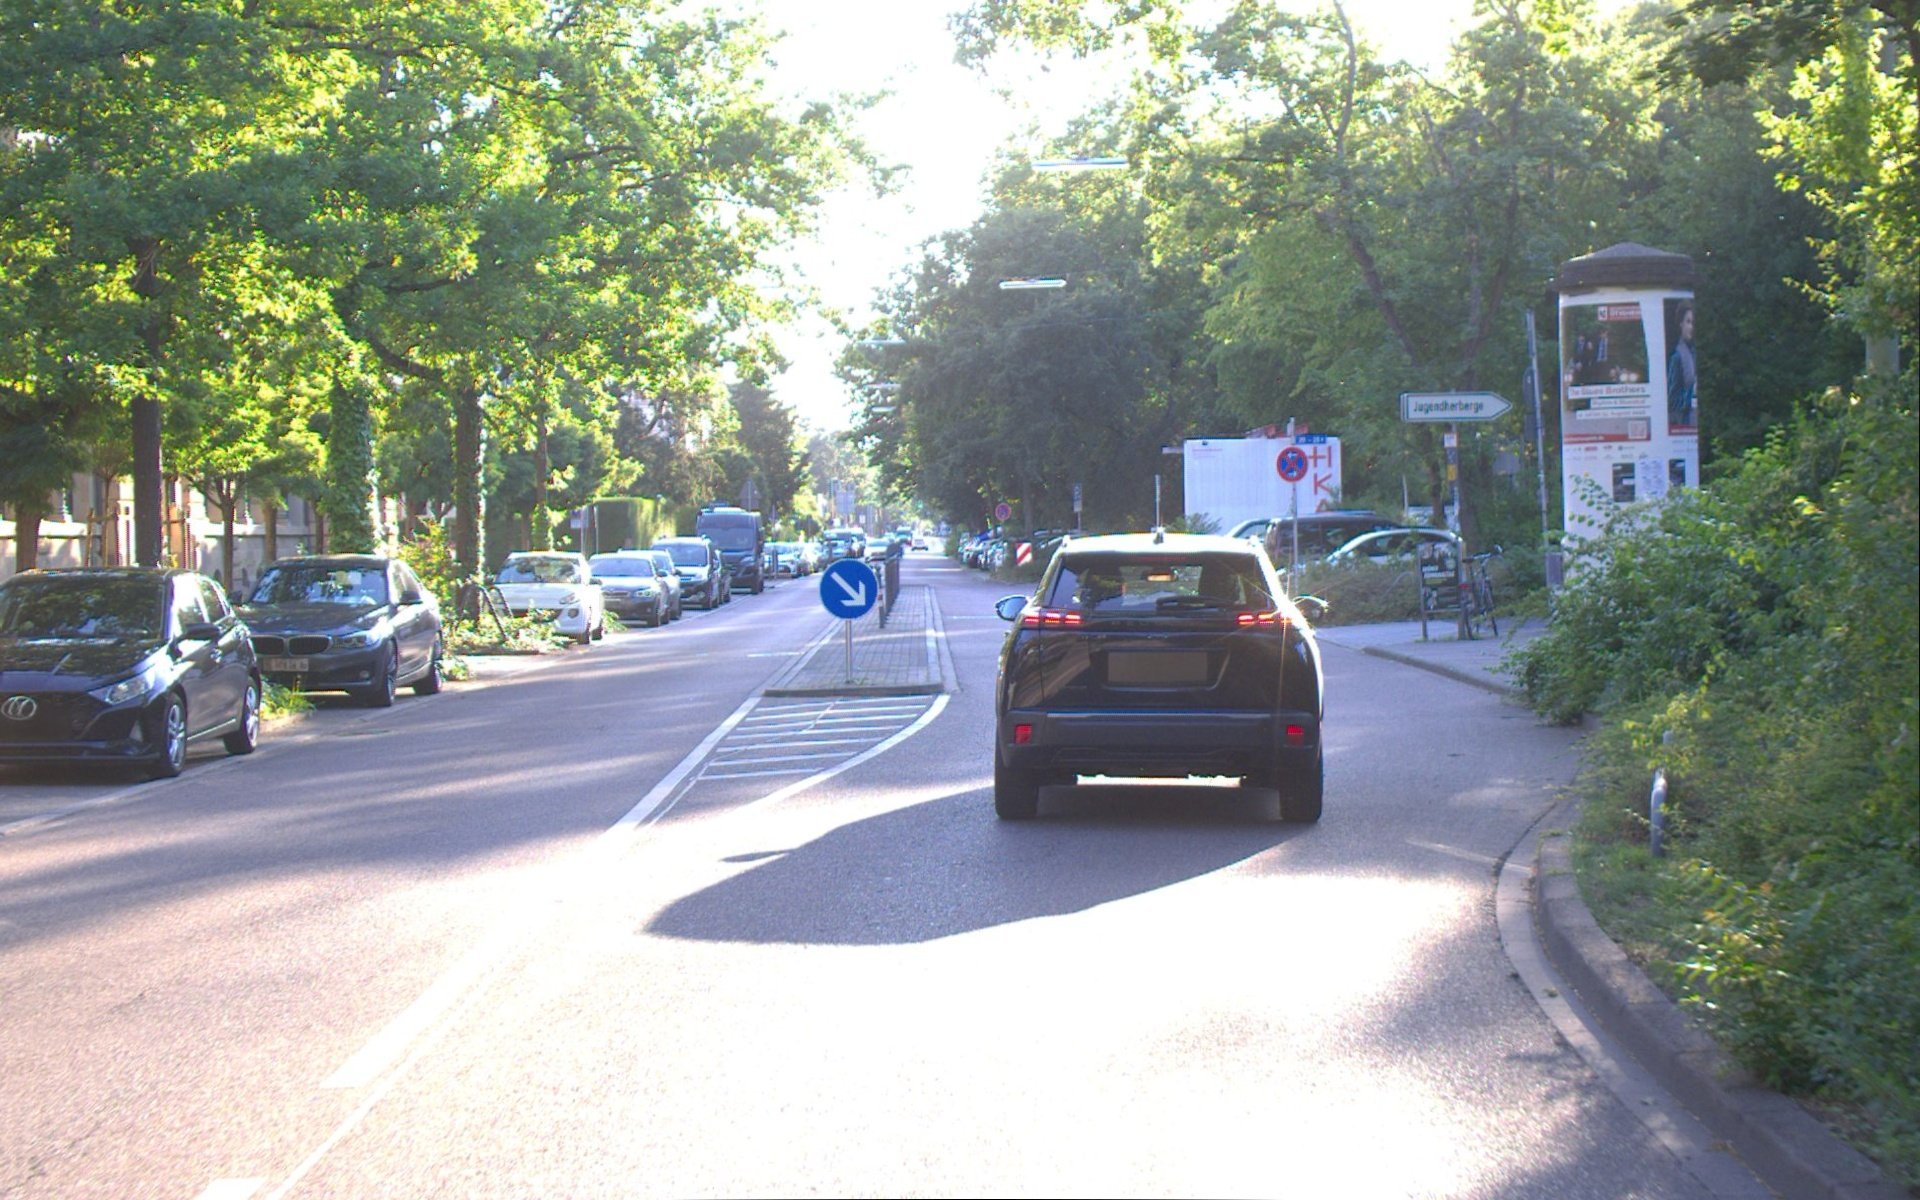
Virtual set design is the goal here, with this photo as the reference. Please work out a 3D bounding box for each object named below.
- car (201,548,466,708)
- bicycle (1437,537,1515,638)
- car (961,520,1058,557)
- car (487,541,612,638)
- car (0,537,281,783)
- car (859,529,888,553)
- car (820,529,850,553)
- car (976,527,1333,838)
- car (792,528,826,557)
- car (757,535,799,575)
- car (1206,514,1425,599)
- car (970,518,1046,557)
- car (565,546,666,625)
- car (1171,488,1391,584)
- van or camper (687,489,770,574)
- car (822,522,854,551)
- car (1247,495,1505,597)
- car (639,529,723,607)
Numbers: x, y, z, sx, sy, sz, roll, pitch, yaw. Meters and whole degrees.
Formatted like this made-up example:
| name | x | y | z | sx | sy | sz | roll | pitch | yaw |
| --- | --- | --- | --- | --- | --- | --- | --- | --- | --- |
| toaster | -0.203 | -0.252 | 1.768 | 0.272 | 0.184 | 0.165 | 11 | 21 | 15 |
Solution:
| name | x | y | z | sx | sy | sz | roll | pitch | yaw |
| --- | --- | --- | --- | --- | --- | --- | --- | --- | --- |
| car | -6.387 | 0.230 | 35.538 | 1.802 | 1.505 | 4.863 | -1 | 1 | 0 |
| bicycle | 6.642 | -0.173 | 44.182 | 0.493 | 1.144 | 2.283 | -4 | 2 | 19 |
| car | 2.254 | -2.805 | 156.907 | 4.242 | 1.444 | 2.022 | -3 | 1 | -3 |
| car | -6.681 | -0.206 | 56.286 | 1.617 | 1.491 | 3.925 | -1 | 1 | -1 |
| car | -6.178 | 0.361 | 24.797 | 1.780 | 1.610 | 4.147 | -1 | 1 | -1 |
| car | -5.397 | -3.713 | 215.537 | 1.741 | 1.453 | 4.624 | -2 | 1 | -1 |
| car | -8.346 | -3.978 | 230.098 | 1.899 | 1.568 | 4.000 | -1 | 1 | -1 |
| car | 1.016 | 0.383 | 19.812 | 1.771 | 1.563 | 4.109 | 0 | 2 | -1 |
| car | -8.079 | -3.083 | 184.219 | 1.752 | 1.409 | 3.765 | -3 | 2 | -2 |
| car | -7.483 | -1.866 | 141.425 | 1.613 | 1.510 | 3.712 | -3 | 1 | -2 |
| car | 7.552 | -0.933 | 73.313 | 4.362 | 1.532 | 1.921 | -4 | 1 | -1 |
| car | 2.624 | -3.440 | 188.881 | 3.986 | 2.082 | 1.758 | -1 | 1 | -5 |
| car | -6.875 | -0.312 | 68.918 | 1.617 | 1.491 | 4.378 | -1 | 1 | -1 |
| car | 7.481 | -1.501 | 80.415 | 4.852 | 1.909 | 1.916 | -4 | 1 | -1 |
| van or camper | -7.107 | -2.109 | 106.204 | 2.229 | 2.535 | 7.080 | 0 | 1 | -1 |
| car | -8.497 | -4.447 | 240.018 | 1.993 | 2.007 | 4.000 | -1 | 1 | 0 |
| car | 7.538 | -0.986 | 62.542 | 4.362 | 1.548 | 1.727 | -4 | 1 | -1 |
| car | -6.993 | -0.838 | 86.586 | 1.777 | 1.859 | 4.333 | 1 | 1 | 0 |
